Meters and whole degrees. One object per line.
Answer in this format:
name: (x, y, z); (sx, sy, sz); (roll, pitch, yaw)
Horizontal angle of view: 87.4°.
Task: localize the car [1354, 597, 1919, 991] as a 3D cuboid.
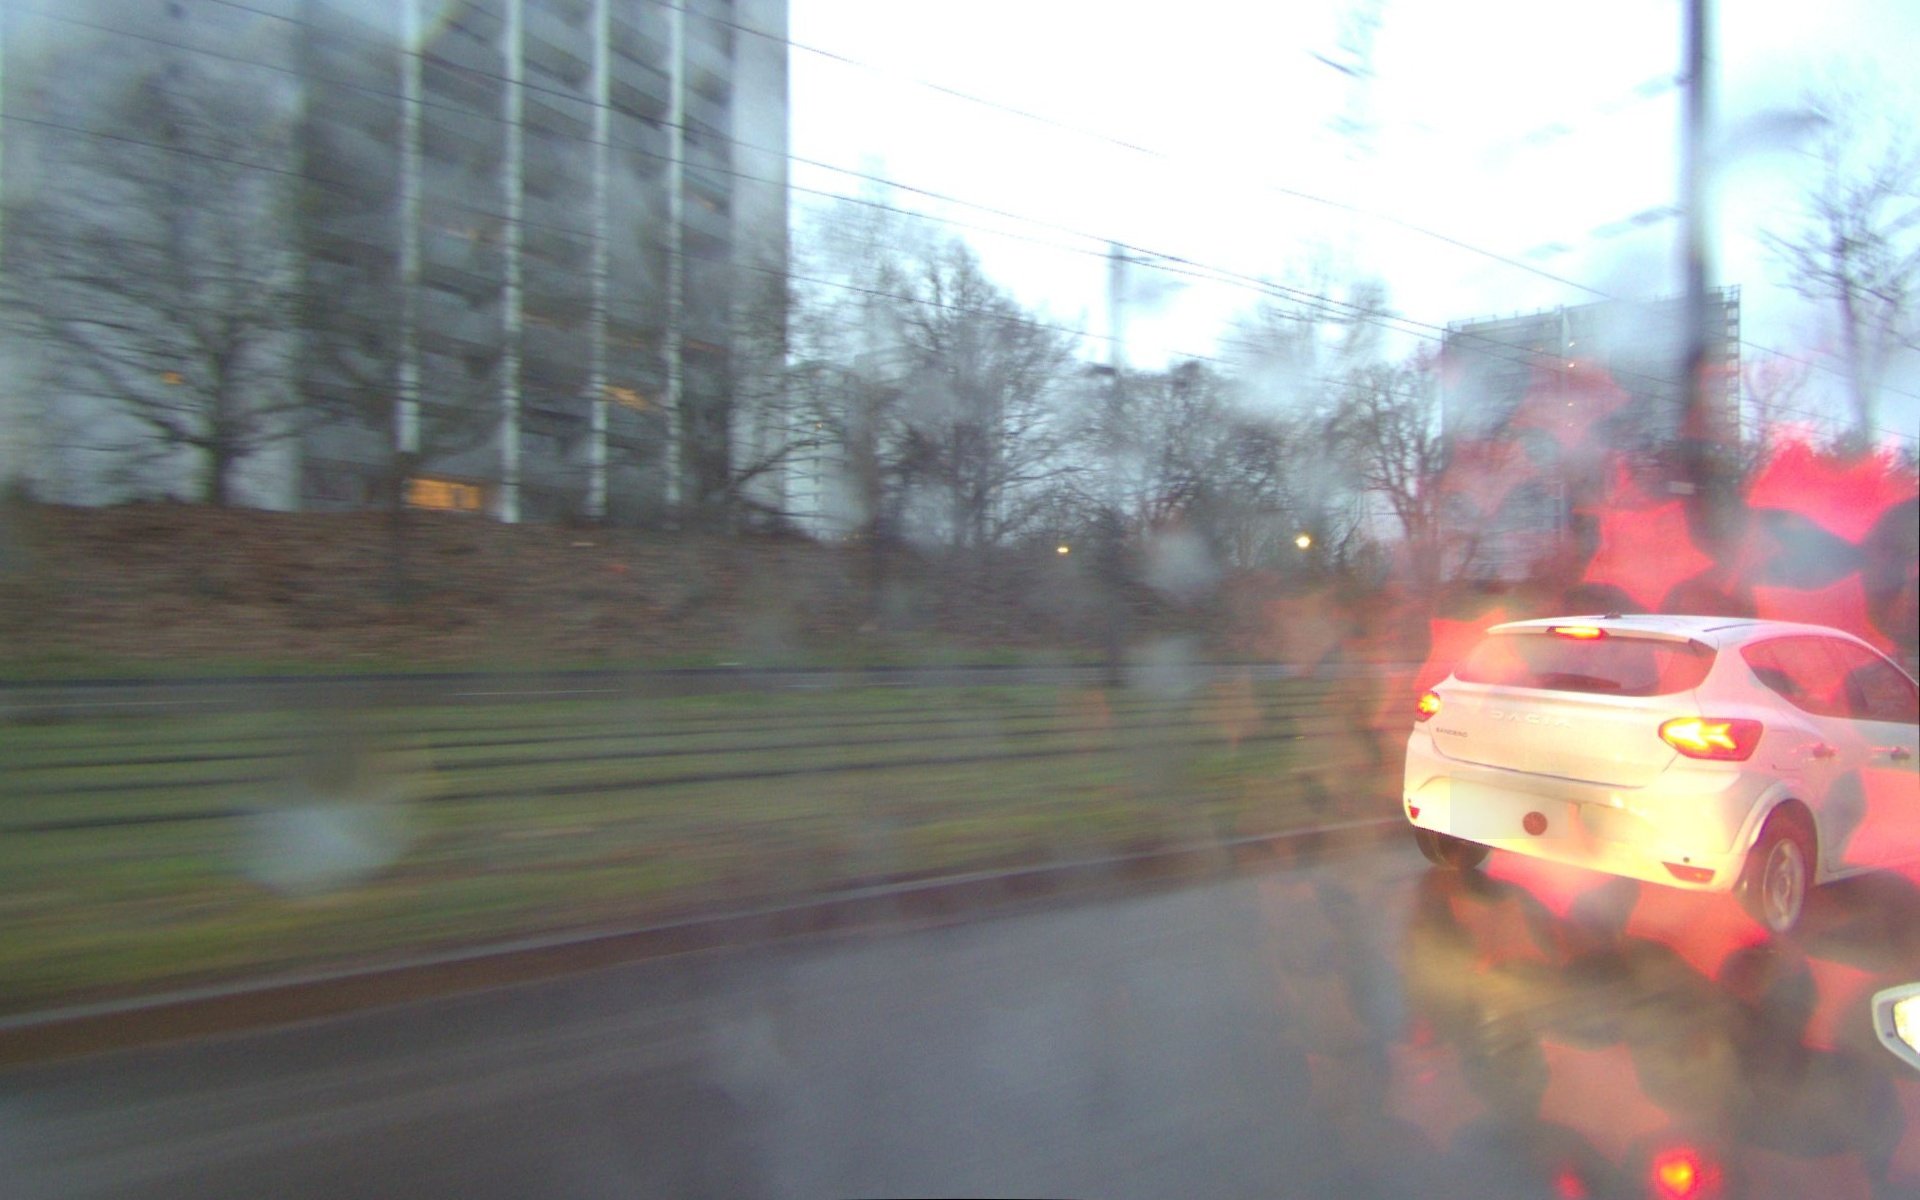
car: (4.312, 0.808, 5.725); (4.086, 1.545, 1.700); (1, -1, -30)
